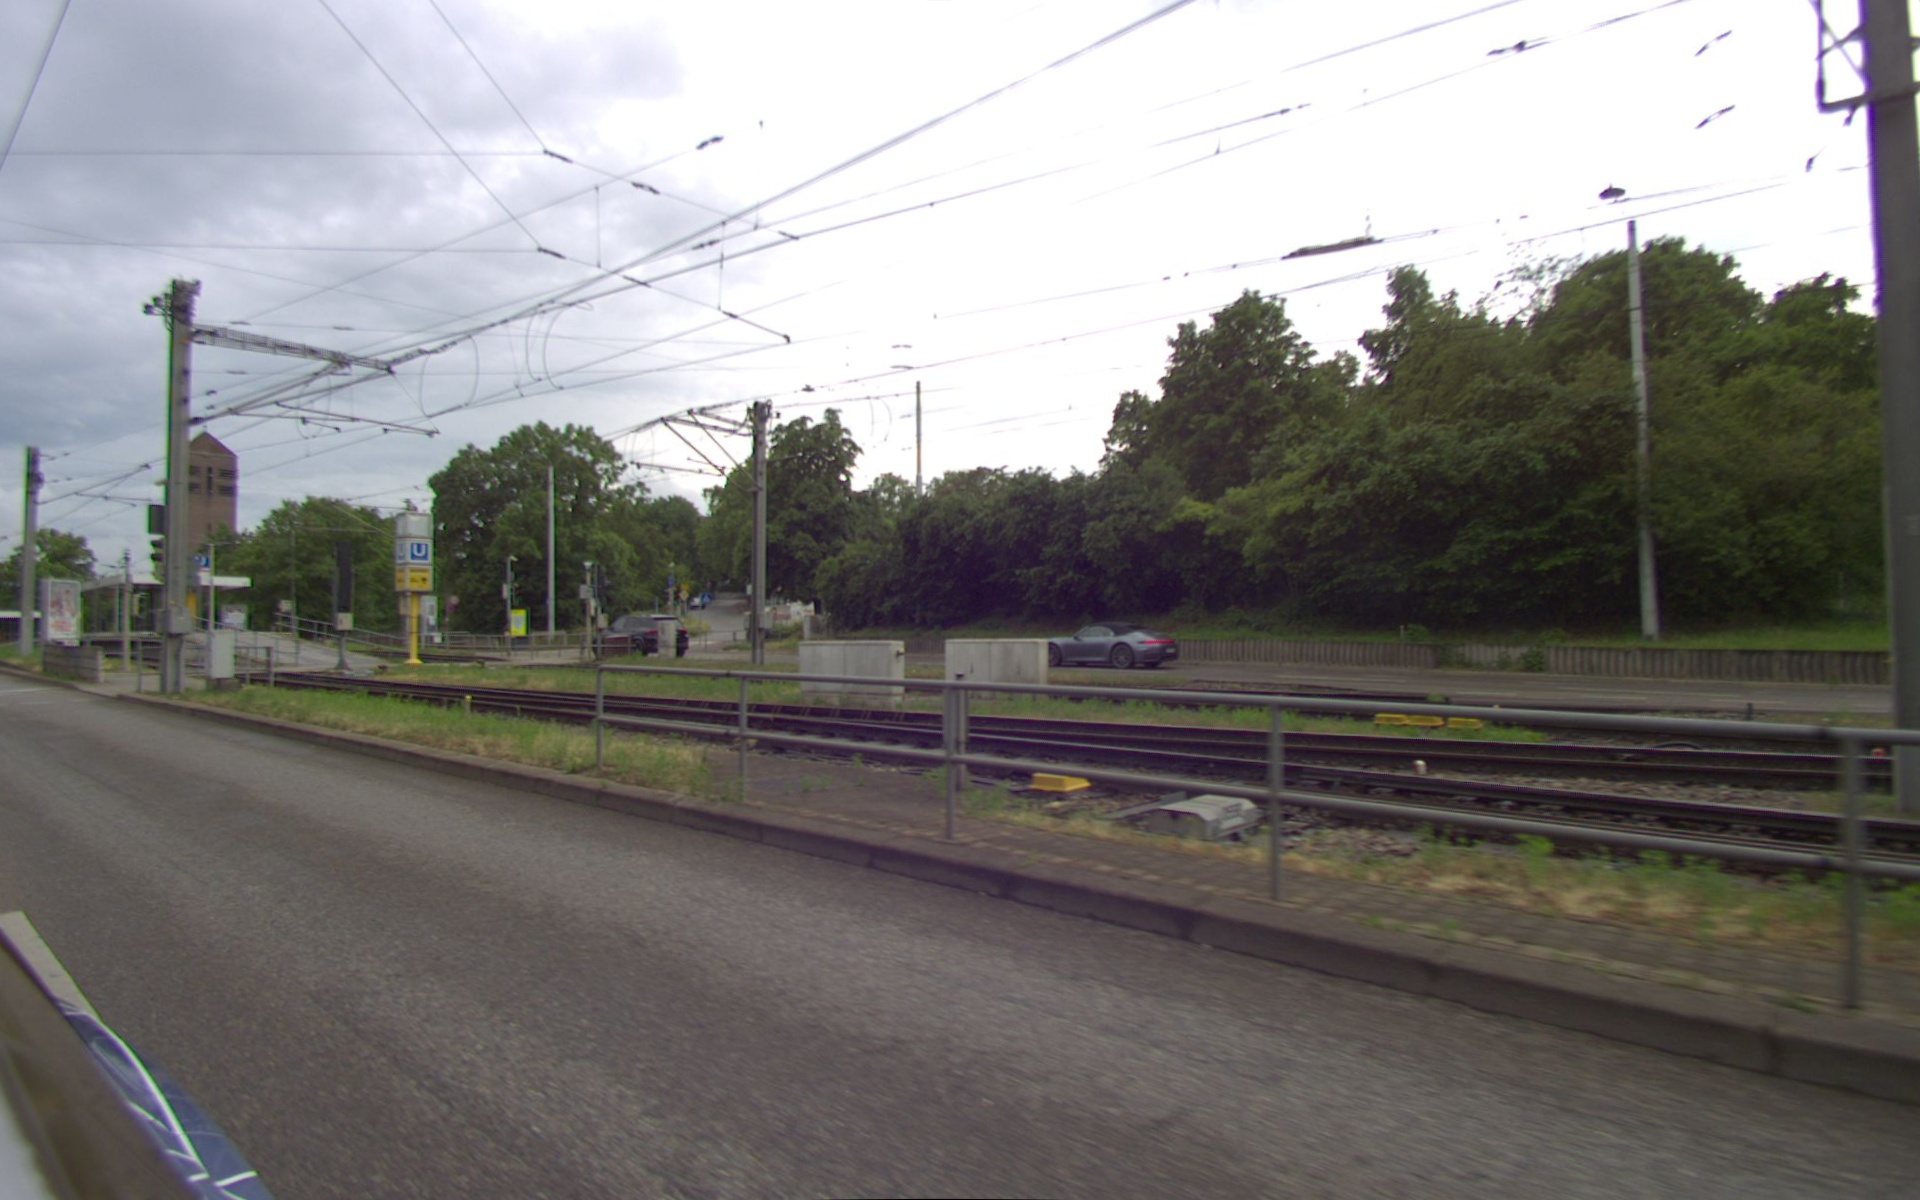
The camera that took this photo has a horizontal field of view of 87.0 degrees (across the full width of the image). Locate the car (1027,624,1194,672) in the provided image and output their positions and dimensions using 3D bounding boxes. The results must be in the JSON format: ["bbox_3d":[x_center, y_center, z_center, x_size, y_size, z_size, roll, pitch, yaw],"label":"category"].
[{"bbox_3d":[4.283,1.352,29.235,4.471,1.271,1.907,-2,-2,40],"label":"car"}]

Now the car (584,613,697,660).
[{"bbox_3d":[-12.882,1.460,40.646,4.859,1.752,2.062,-2,-2,40],"label":"car"}]
